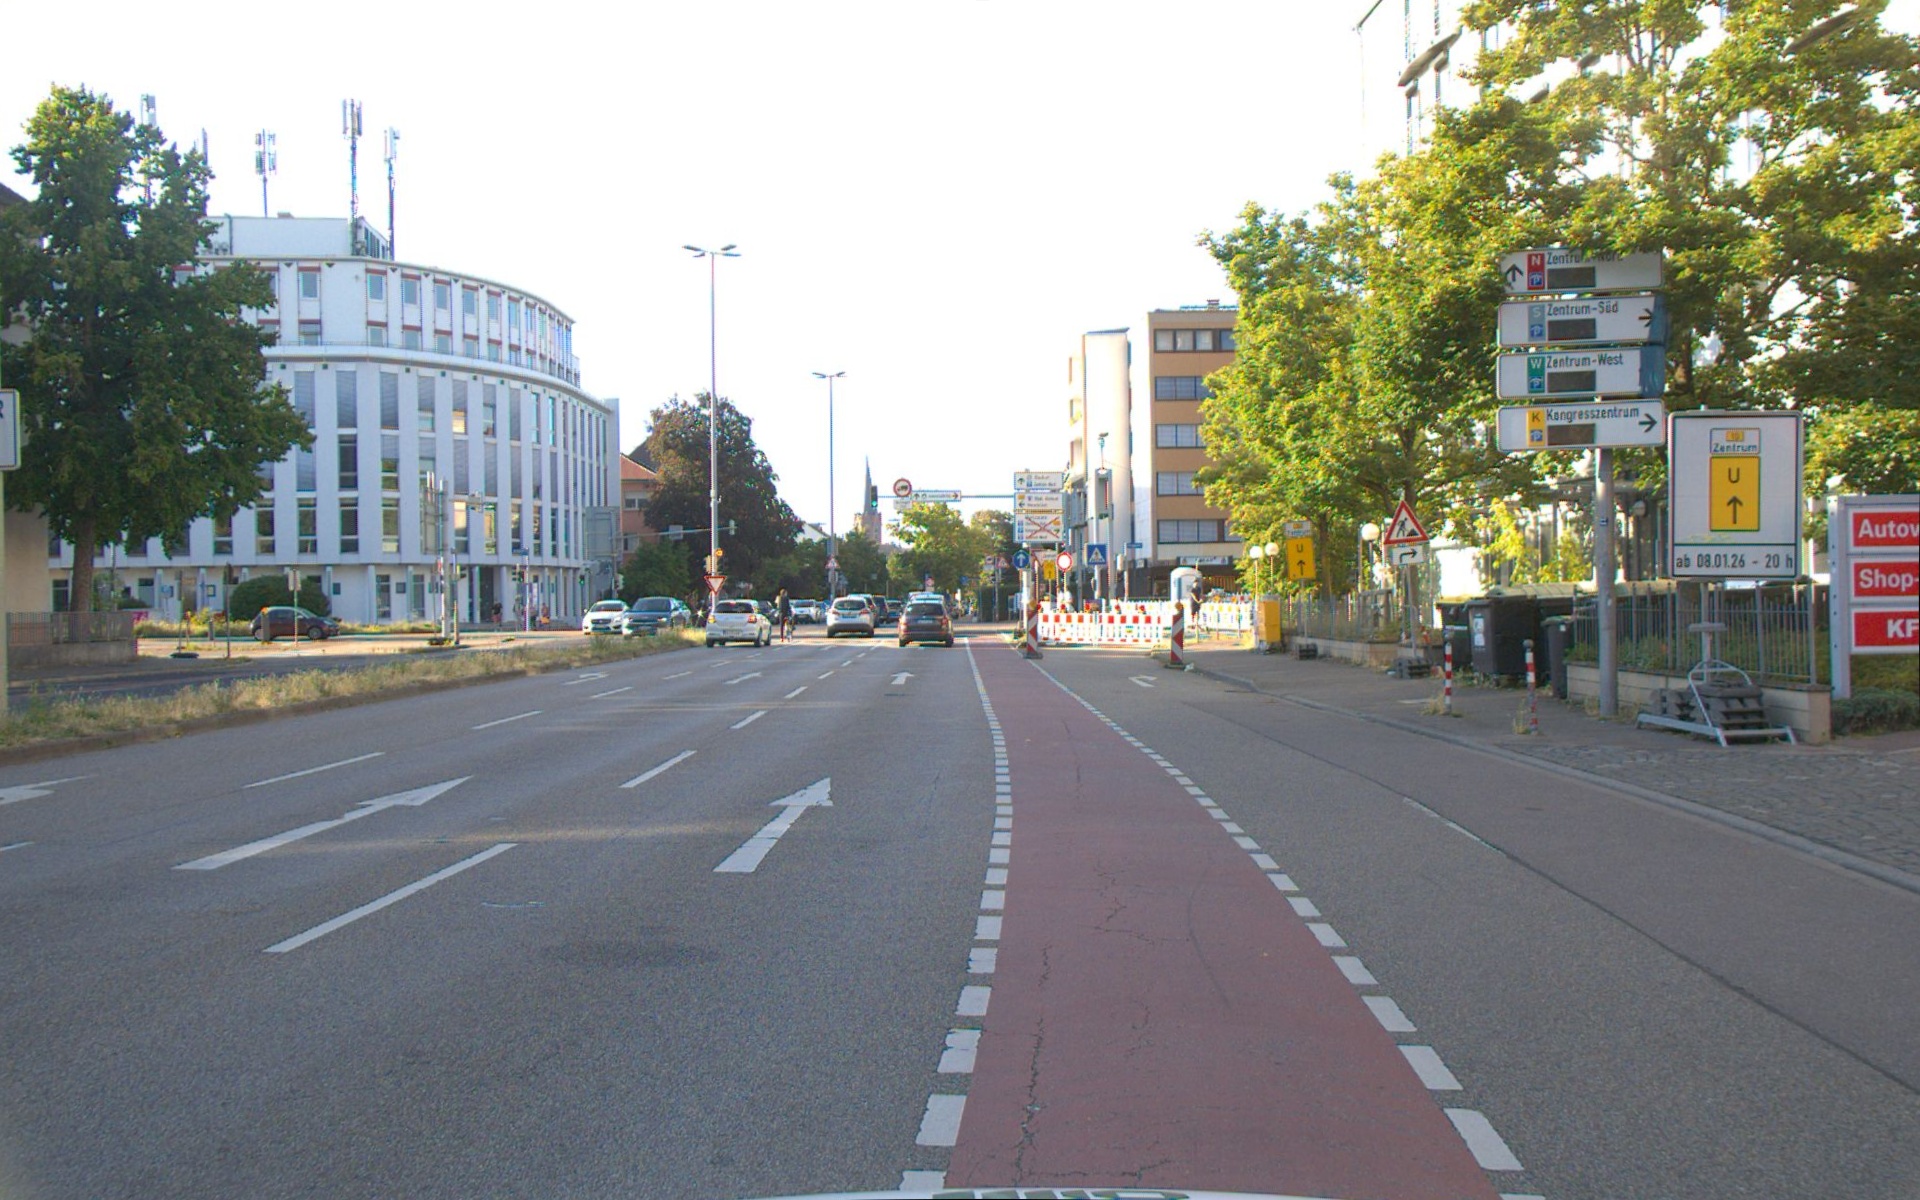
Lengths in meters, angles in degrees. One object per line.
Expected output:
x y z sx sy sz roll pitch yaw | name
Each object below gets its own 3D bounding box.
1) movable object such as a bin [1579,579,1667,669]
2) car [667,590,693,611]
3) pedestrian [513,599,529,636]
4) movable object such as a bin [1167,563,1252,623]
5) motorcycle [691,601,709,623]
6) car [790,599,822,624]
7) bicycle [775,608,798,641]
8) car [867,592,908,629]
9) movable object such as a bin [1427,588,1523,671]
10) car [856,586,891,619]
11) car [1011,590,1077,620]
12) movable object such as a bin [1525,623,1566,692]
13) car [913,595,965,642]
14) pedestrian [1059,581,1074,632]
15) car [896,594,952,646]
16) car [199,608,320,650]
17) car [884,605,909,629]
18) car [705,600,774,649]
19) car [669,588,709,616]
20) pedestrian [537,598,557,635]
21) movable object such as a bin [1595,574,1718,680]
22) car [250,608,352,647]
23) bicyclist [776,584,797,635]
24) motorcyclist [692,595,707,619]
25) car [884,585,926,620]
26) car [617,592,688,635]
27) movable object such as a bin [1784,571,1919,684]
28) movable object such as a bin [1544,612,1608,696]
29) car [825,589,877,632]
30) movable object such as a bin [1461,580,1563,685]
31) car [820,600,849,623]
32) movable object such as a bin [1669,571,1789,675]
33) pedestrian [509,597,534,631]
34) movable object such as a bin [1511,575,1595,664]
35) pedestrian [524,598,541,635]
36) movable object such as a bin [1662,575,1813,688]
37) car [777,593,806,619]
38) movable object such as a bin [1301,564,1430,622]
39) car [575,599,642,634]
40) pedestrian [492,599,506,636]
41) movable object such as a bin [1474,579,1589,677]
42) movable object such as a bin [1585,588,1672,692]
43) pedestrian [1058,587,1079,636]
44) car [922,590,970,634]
11.462 0.409 28.635 1.103 1.511 0.956 -1 0 -1 | movable object such as a bin
-21.763 0.037 128.639 1.806 1.599 3.993 -1 0 -7 | car
-22.867 0.896 86.154 0.745 1.874 0.816 -1 0 -11 | pedestrian
10.464 -0.300 69.546 3.261 2.424 1.528 -1 0 -2 | movable object such as a bin
-15.847 0.695 100.747 0.754 1.307 2.841 -1 0 -3 | motorcycle
-9.617 0.732 103.378 1.811 1.487 4.047 -1 0 -3 | car
-6.089 0.849 58.209 0.686 1.119 2.256 -1 0 -3 | bicycle
-3.312 0.462 76.178 1.712 1.591 4.049 -1 0 0 | car
8.863 0.499 28.483 1.194 1.367 1.051 -1 0 -16 | movable object such as a bin
-4.685 0.139 90.150 1.630 1.686 4.000 -1 0 0 | car
5.659 0.307 111.574 4.276 1.910 1.999 -1 0 -2 | car
8.050 0.783 22.740 0.384 0.923 0.490 -1 0 2 | movable object such as a bin
-0.742 0.638 60.048 1.692 1.606 3.724 -1 0 2 | car
4.024 0.230 62.446 0.509 1.901 0.615 -1 0 5 | pedestrian
-1.127 0.610 53.771 1.712 1.591 4.049 -1 0 0 | car
-29.890 1.231 70.624 4.254 1.657 2.001 -1 0 3 | car
-4.635 1.223 121.790 1.630 1.686 4.000 -1 0 0 | car
-7.063 0.760 53.263 1.650 1.482 4.000 0 0 0 | car
-15.227 0.102 92.995 1.651 1.525 4.512 -1 0 -2 | car
-21.320 0.849 85.369 0.613 1.901 1.128 -1 0 7 | pedestrian
10.217 0.378 24.314 1.281 1.458 1.280 -3 1 4 | movable object such as a bin
-29.164 1.224 73.290 3.733 1.557 1.861 -2 -2 -4 | car
-6.106 0.343 58.258 0.677 1.758 0.987 -1 0 -4 | bicyclist
-15.877 0.426 100.873 0.754 1.444 1.238 -1 0 -3 | motorcyclist
-2.662 0.142 80.949 1.953 1.534 3.998 -3 -2 -2 | car
-12.138 0.503 65.528 1.953 1.606 4.898 -1 0 -1 | car
11.910 0.358 22.052 1.377 1.434 0.865 -2 0 -2 | movable object such as a bin
8.077 0.703 21.701 0.606 1.064 0.616 -1 0 2 | movable object such as a bin
-4.183 0.392 63.765 1.712 1.591 4.049 -1 0 0 | car
8.303 0.503 24.924 1.070 1.534 1.254 -1 -3 -1 | movable object such as a bin
-8.249 0.744 108.826 1.811 1.487 4.047 -1 0 -3 | car
11.425 0.322 24.617 1.170 1.446 1.279 -3 1 2 | movable object such as a bin
-26.575 0.849 100.234 1.068 2.049 1.036 -1 0 10 | pedestrian
10.320 0.336 28.805 1.081 1.511 0.956 -1 0 -2 | movable object such as a bin
-22.059 0.853 85.308 0.646 1.901 0.778 -1 0 0 | pedestrian
10.326 0.412 21.993 1.575 1.434 0.864 -1 0 -2 | movable object such as a bin
-12.163 0.409 119.675 1.877 1.843 4.714 -1 0 -3 | car
18.667 -0.333 76.348 5.243 2.534 2.547 -1 0 -4 | movable object such as a bin
-15.667 0.702 73.958 1.953 1.438 4.443 -2 0 0 | car
-23.929 0.927 85.883 0.648 1.891 0.776 -1 0 -13 | pedestrian
9.178 0.442 26.621 1.302 1.511 1.208 -1 0 -10 | movable object such as a bin
8.841 0.522 21.911 0.761 1.331 0.864 -1 0 -2 | movable object such as a bin
4.045 0.426 61.714 0.725 1.831 0.715 -1 0 4 | pedestrian
-0.568 0.463 65.323 1.783 1.668 3.999 -1 0 -2 | car
